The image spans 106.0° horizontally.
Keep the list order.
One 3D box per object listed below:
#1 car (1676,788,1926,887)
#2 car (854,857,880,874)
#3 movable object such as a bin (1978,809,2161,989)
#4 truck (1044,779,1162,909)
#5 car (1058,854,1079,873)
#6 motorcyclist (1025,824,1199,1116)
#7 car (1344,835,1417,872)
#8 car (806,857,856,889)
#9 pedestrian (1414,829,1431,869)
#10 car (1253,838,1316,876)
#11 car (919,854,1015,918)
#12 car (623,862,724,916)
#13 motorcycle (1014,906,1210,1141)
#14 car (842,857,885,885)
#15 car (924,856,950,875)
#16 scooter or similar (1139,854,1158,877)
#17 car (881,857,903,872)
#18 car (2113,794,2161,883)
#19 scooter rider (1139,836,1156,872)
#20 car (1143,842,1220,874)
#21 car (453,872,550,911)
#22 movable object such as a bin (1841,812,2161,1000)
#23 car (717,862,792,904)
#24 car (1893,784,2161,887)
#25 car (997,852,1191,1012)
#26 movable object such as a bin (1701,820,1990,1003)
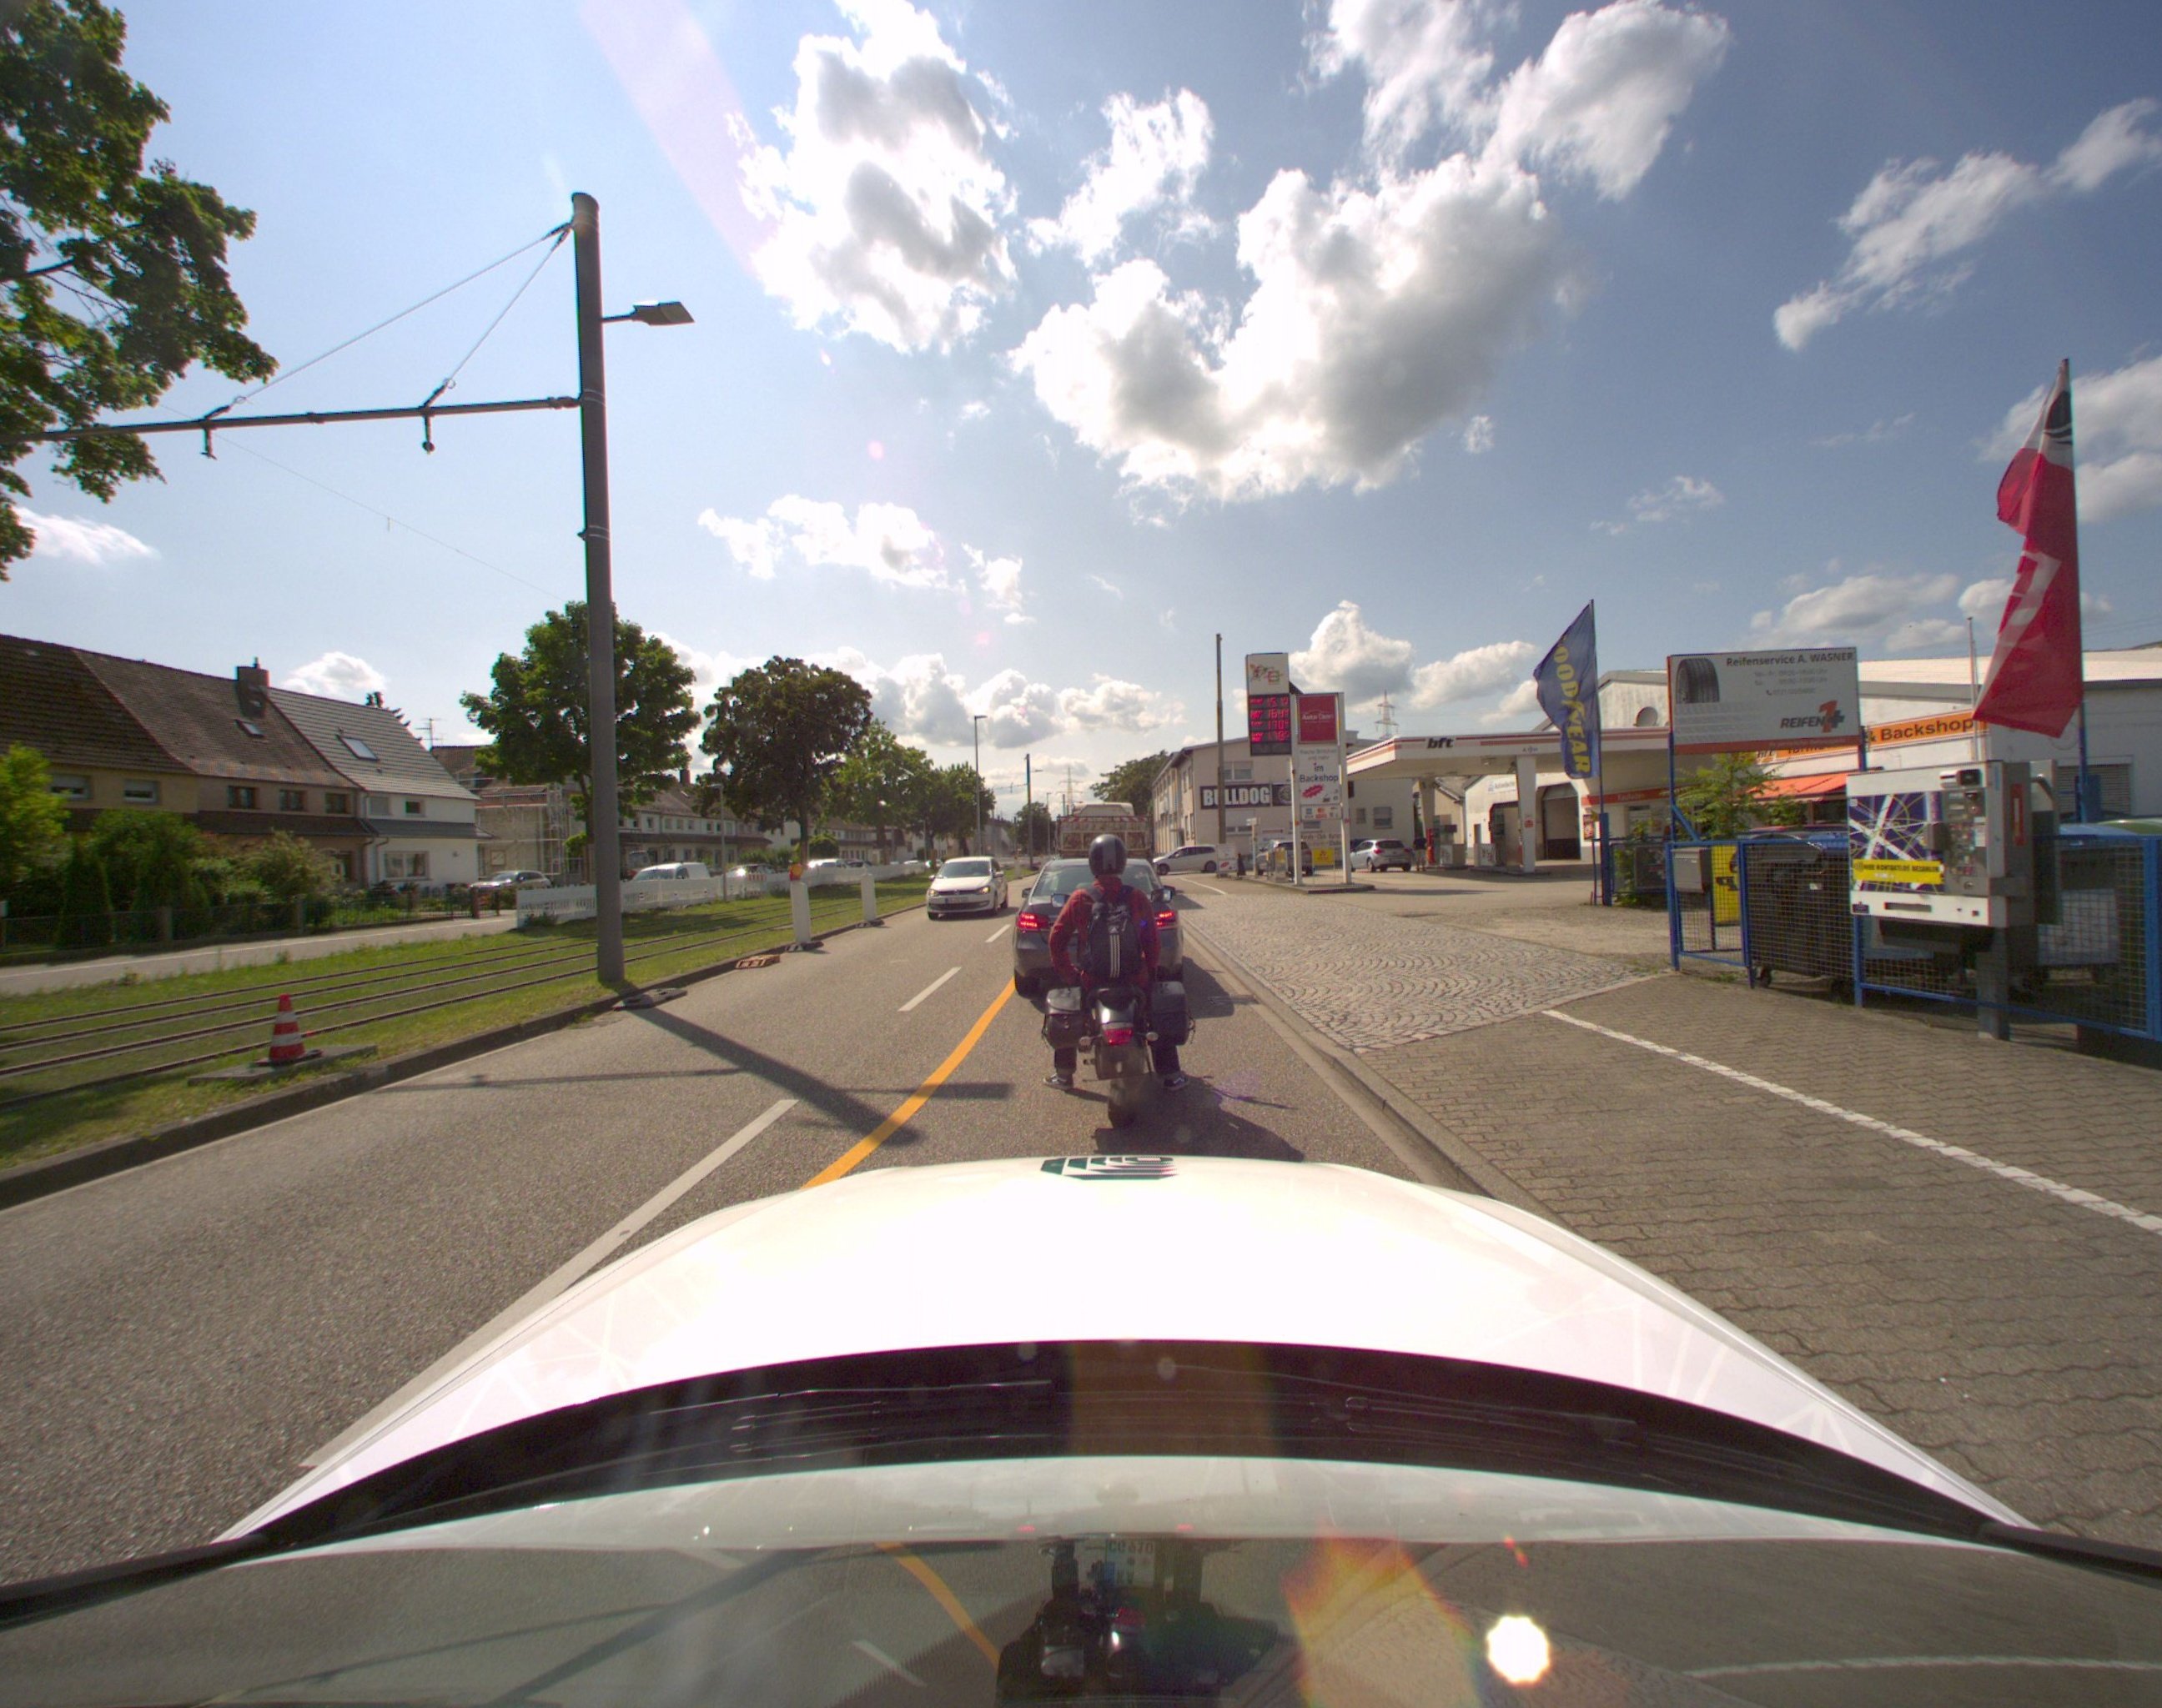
[{"bbox_3d":[16.601,-0.373,18.960,3.972,2.013,2.001,-2,0,1],"label":"car"},{"bbox_3d":[-24.466,1.295,93.137,1.692,1.739,4.064,-2,0,2],"label":"car"},{"bbox_3d":[9.449,0.334,7.189,1.425,1.454,1.455,-2,0,0],"label":"movable object such as a bin"},{"bbox_3d":[0.641,-0.284,25.602,2.960,3.304,8.407,-2,0,1],"label":"truck"},{"bbox_3d":[-1.126,0.834,74.346,1.674,1.624,4.120,-2,0,1],"label":"car"},{"bbox_3d":[0.194,0.652,5.194,0.966,1.633,1.215,-1,0,1],"label":"motorcyclist"},{"bbox_3d":[13.537,-0.025,37.067,1.826,1.479,4.009,-3,0,1],"label":"car"},{"bbox_3d":[-15.103,1.108,49.390,1.692,1.739,3.862,-2,0,2],"label":"car"},{"bbox_3d":[14.841,-0.212,35.387,0.628,1.683,0.626,-2,0,23],"label":"pedestrian"},{"bbox_3d":[9.067,0.120,36.575,1.826,1.536,4.009,-3,0,1],"label":"car"},{"bbox_3d":[-2.834,0.746,21.173,1.709,1.413,4.264,-2,0,2],"label":"car"},{"bbox_3d":[-15.419,1.274,31.054,1.692,1.817,3.862,-2,0,2],"label":"car"},{"bbox_3d":[0.194,0.930,5.311,0.972,1.013,2.433,-1,0,2],"label":"motorcycle"},{"bbox_3d":[-14.869,1.136,55.756,1.692,1.739,3.862,-2,0,2],"label":"car"},{"bbox_3d":[-14.190,1.146,80.309,1.692,1.739,3.862,-2,0,2],"label":"car"},{"bbox_3d":[3.479,0.570,42.312,0.793,1.144,1.518,-2,0,-1],"label":"scooter or similar"},{"bbox_3d":[-24.380,1.337,105.363,1.692,1.739,4.064,-2,0,2],"label":"car"},{"bbox_3d":[26.351,-0.434,18.184,3.972,2.013,2.001,-2,0,1],"label":"car"},{"bbox_3d":[3.452,0.019,42.266,0.793,1.818,0.508,-2,0,-2],"label":"scooter rider"},{"bbox_3d":[5.765,0.225,47.047,4.101,1.624,1.682,-3,0,-7],"label":"car"},{"bbox_3d":[-27.480,1.726,38.791,1.692,1.593,3.862,-2,0,2],"label":"car"},{"bbox_3d":[8.103,0.414,7.278,1.222,1.454,1.455,-2,0,0],"label":"movable object such as a bin"},{"bbox_3d":[-15.326,1.321,38.485,1.692,1.739,4.056,-2,0,2],"label":"car"},{"bbox_3d":[21.248,-0.402,18.268,3.972,2.013,2.001,-2,0,1],"label":"car"},{"bbox_3d":[0.160,0.753,9.953,1.826,1.479,4.009,-3,0,1],"label":"car"},{"bbox_3d":[6.824,0.469,7.402,1.222,1.454,1.455,-2,0,0],"label":"movable object such as a bin"}]
